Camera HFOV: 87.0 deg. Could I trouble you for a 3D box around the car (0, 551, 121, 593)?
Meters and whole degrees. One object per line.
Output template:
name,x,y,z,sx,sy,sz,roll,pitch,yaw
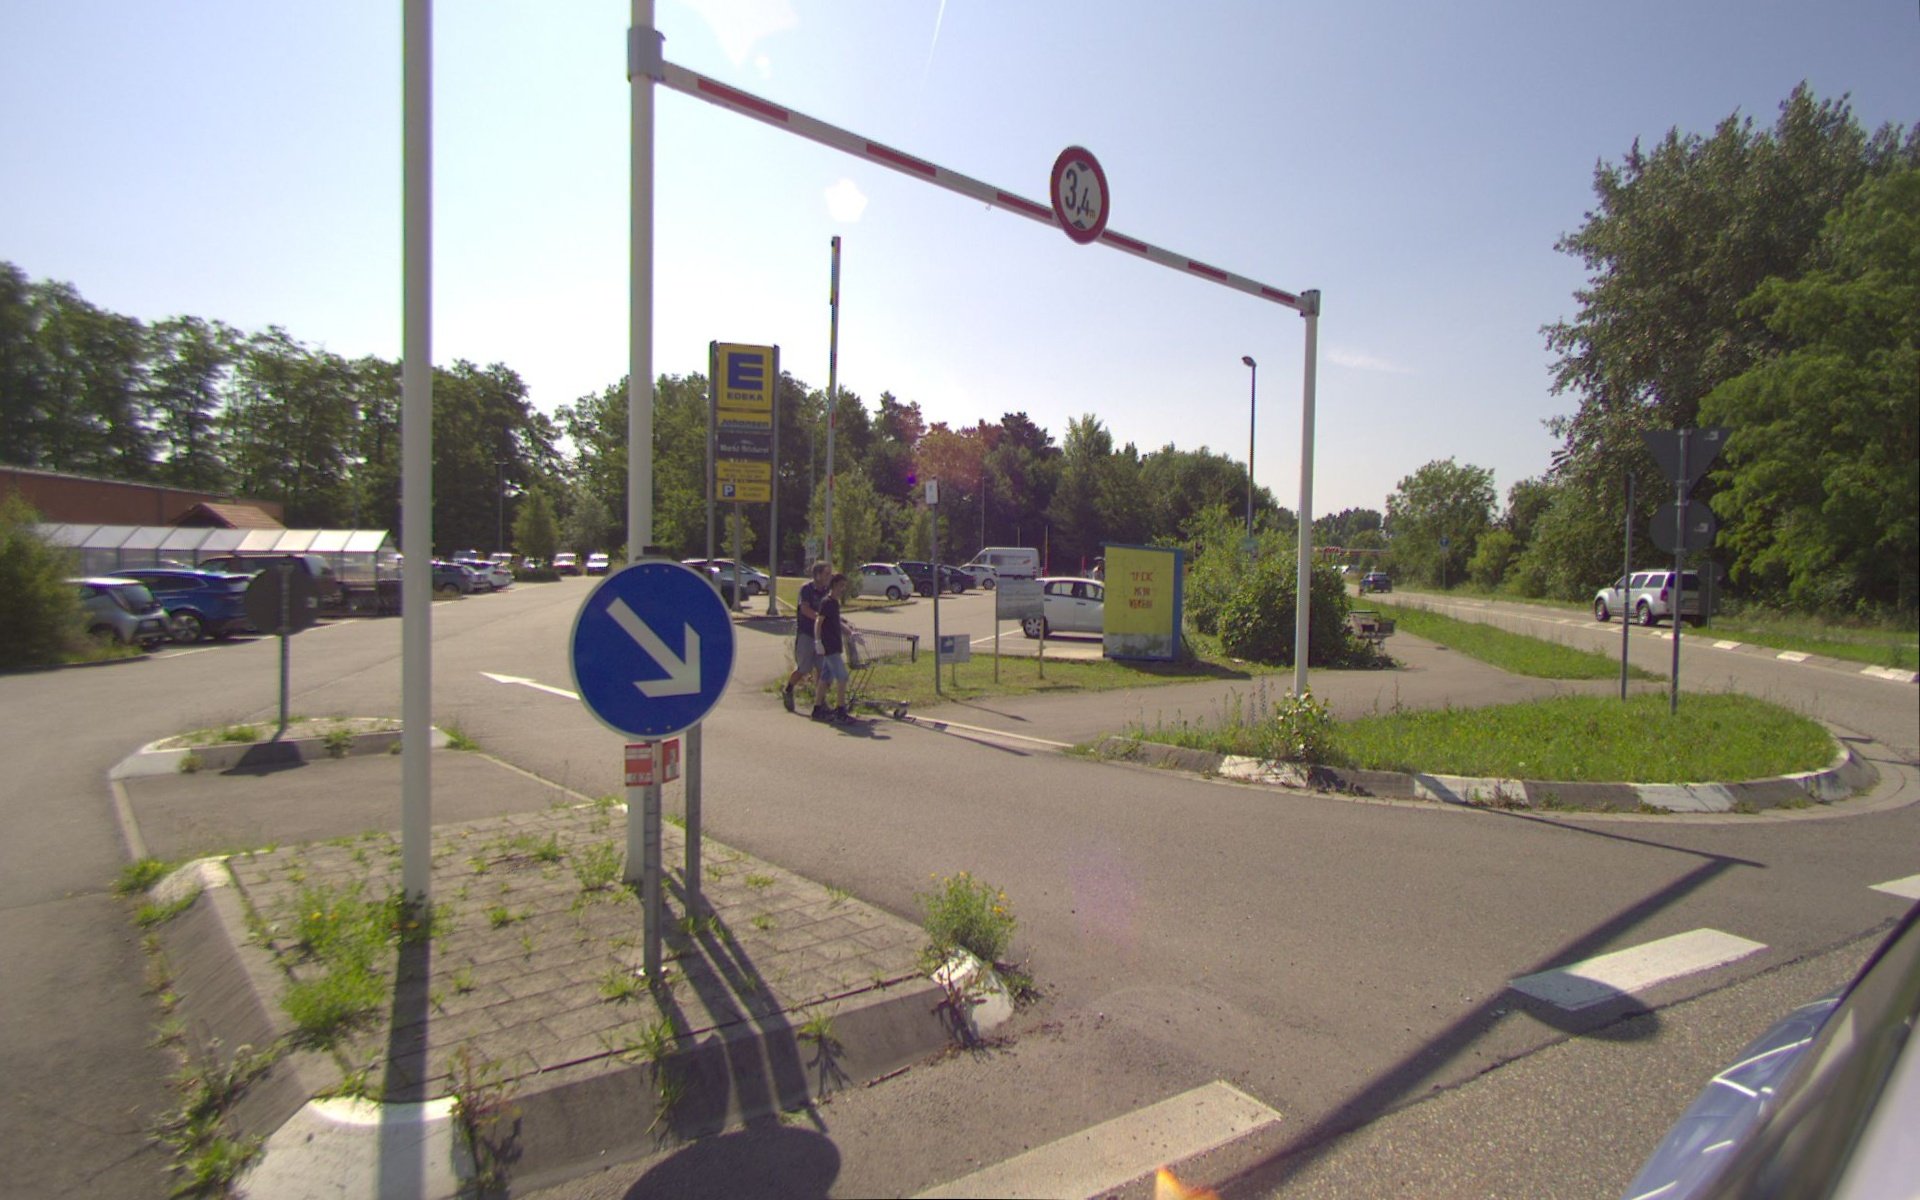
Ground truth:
car,-40.651,-1.267,45.621,3.916,1.838,2.005,0,1,-17

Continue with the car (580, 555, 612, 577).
car,-30.483,-2.829,84.809,2.028,1.732,4.009,0,2,-13

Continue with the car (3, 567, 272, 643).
car,-18.073,0.083,22.428,4.337,1.591,1.719,0,1,-9

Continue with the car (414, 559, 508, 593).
car,-25.465,-1.242,51.746,3.918,1.682,2.003,0,1,-8

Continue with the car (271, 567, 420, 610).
car,-20.934,-0.412,34.645,3.916,1.437,1.987,0,1,-13

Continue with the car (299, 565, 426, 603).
car,-23.099,-0.632,39.272,3.916,1.415,1.719,0,2,-14

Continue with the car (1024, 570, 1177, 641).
car,3.568,0.096,25.486,3.556,1.581,1.805,2,2,17

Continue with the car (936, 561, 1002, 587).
car,0.574,-1.574,60.583,3.902,1.471,1.903,1,2,4

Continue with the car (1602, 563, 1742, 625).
car,22.899,-0.273,32.810,1.869,1.838,4.584,1,2,10

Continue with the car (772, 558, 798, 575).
car,-15.439,-2.954,89.321,2.028,1.504,4.009,0,2,-13

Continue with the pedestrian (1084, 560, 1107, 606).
pedestrian,5.506,-0.693,41.046,0.809,1.819,0.863,1,2,14

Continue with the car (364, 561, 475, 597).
car,-23.430,-0.907,44.010,3.916,1.504,1.973,0,1,-15

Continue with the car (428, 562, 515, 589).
car,-26.625,-1.351,55.301,3.918,1.415,1.894,0,2,-9

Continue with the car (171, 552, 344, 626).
car,-19.217,-0.326,27.818,3.422,1.953,1.881,0,1,-6

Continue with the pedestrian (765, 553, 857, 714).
pedestrian,-1.739,0.364,11.932,0.829,1.807,0.878,1,1,11

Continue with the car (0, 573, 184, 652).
car,-17.759,0.225,20.040,3.422,1.476,1.719,0,1,-6

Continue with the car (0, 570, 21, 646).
car,-22.765,0.183,21.350,3.917,1.642,1.917,0,2,-12

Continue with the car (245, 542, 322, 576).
car,-46.844,-2.832,70.148,3.941,2.274,2.004,0,1,-10

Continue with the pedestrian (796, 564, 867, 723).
pedestrian,-1.389,0.450,11.031,0.587,1.668,0.702,1,1,10

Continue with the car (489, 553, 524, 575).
car,-37.387,-2.961,83.492,1.902,1.732,4.009,1,2,-13

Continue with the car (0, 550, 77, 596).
car,-39.534,-1.120,41.945,3.916,1.838,2.005,0,1,-18

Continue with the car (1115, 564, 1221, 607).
car,8.291,-0.603,40.453,4.070,1.647,1.746,1,1,13

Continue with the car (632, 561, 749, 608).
car,-9.583,-0.561,36.144,3.916,1.608,1.665,0,2,-13

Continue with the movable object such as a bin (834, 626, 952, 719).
movable object such as a bin,-0.759,0.816,11.757,1.185,0.967,0.878,1,1,11

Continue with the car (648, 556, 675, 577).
car,-25.528,-2.863,86.678,2.028,1.732,4.009,0,2,-13

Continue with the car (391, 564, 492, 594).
car,-25.201,-1.046,49.311,3.918,1.371,2.004,0,2,-8

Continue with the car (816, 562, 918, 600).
car,-3.884,-0.813,42.338,3.940,1.460,1.645,1,2,13

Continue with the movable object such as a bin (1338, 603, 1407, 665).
movable object such as a bin,8.245,0.654,20.182,0.867,1.134,1.434,1,2,41

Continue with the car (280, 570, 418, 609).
car,-22.236,-0.411,36.994,3.916,1.393,2.005,0,2,-15

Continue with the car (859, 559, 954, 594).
car,-2.480,-1.132,47.517,4.100,1.593,1.994,1,2,11

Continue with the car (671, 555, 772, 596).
car,-11.086,-1.155,47.160,4.465,1.723,2.005,-2,2,-13

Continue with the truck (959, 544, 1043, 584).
truck,2.880,-2.523,70.938,5.531,2.637,2.196,2,2,13

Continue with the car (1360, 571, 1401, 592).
car,30.644,-1.355,73.873,1.809,1.404,4.412,2,2,10

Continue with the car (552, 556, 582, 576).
car,-32.609,-2.821,84.066,1.758,1.615,4.271,1,2,-14

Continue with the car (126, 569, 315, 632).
car,-18.448,0.000,25.384,3.422,1.516,1.719,0,1,-6

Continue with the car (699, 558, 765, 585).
car,-14.223,-1.803,63.266,3.918,1.604,1.974,0,2,-9

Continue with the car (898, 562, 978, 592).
car,-1.114,-1.196,52.527,3.931,1.445,1.747,1,2,7

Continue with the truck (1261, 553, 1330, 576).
truck,54.310,-5.771,164.169,10.177,3.435,3.874,2,2,11
